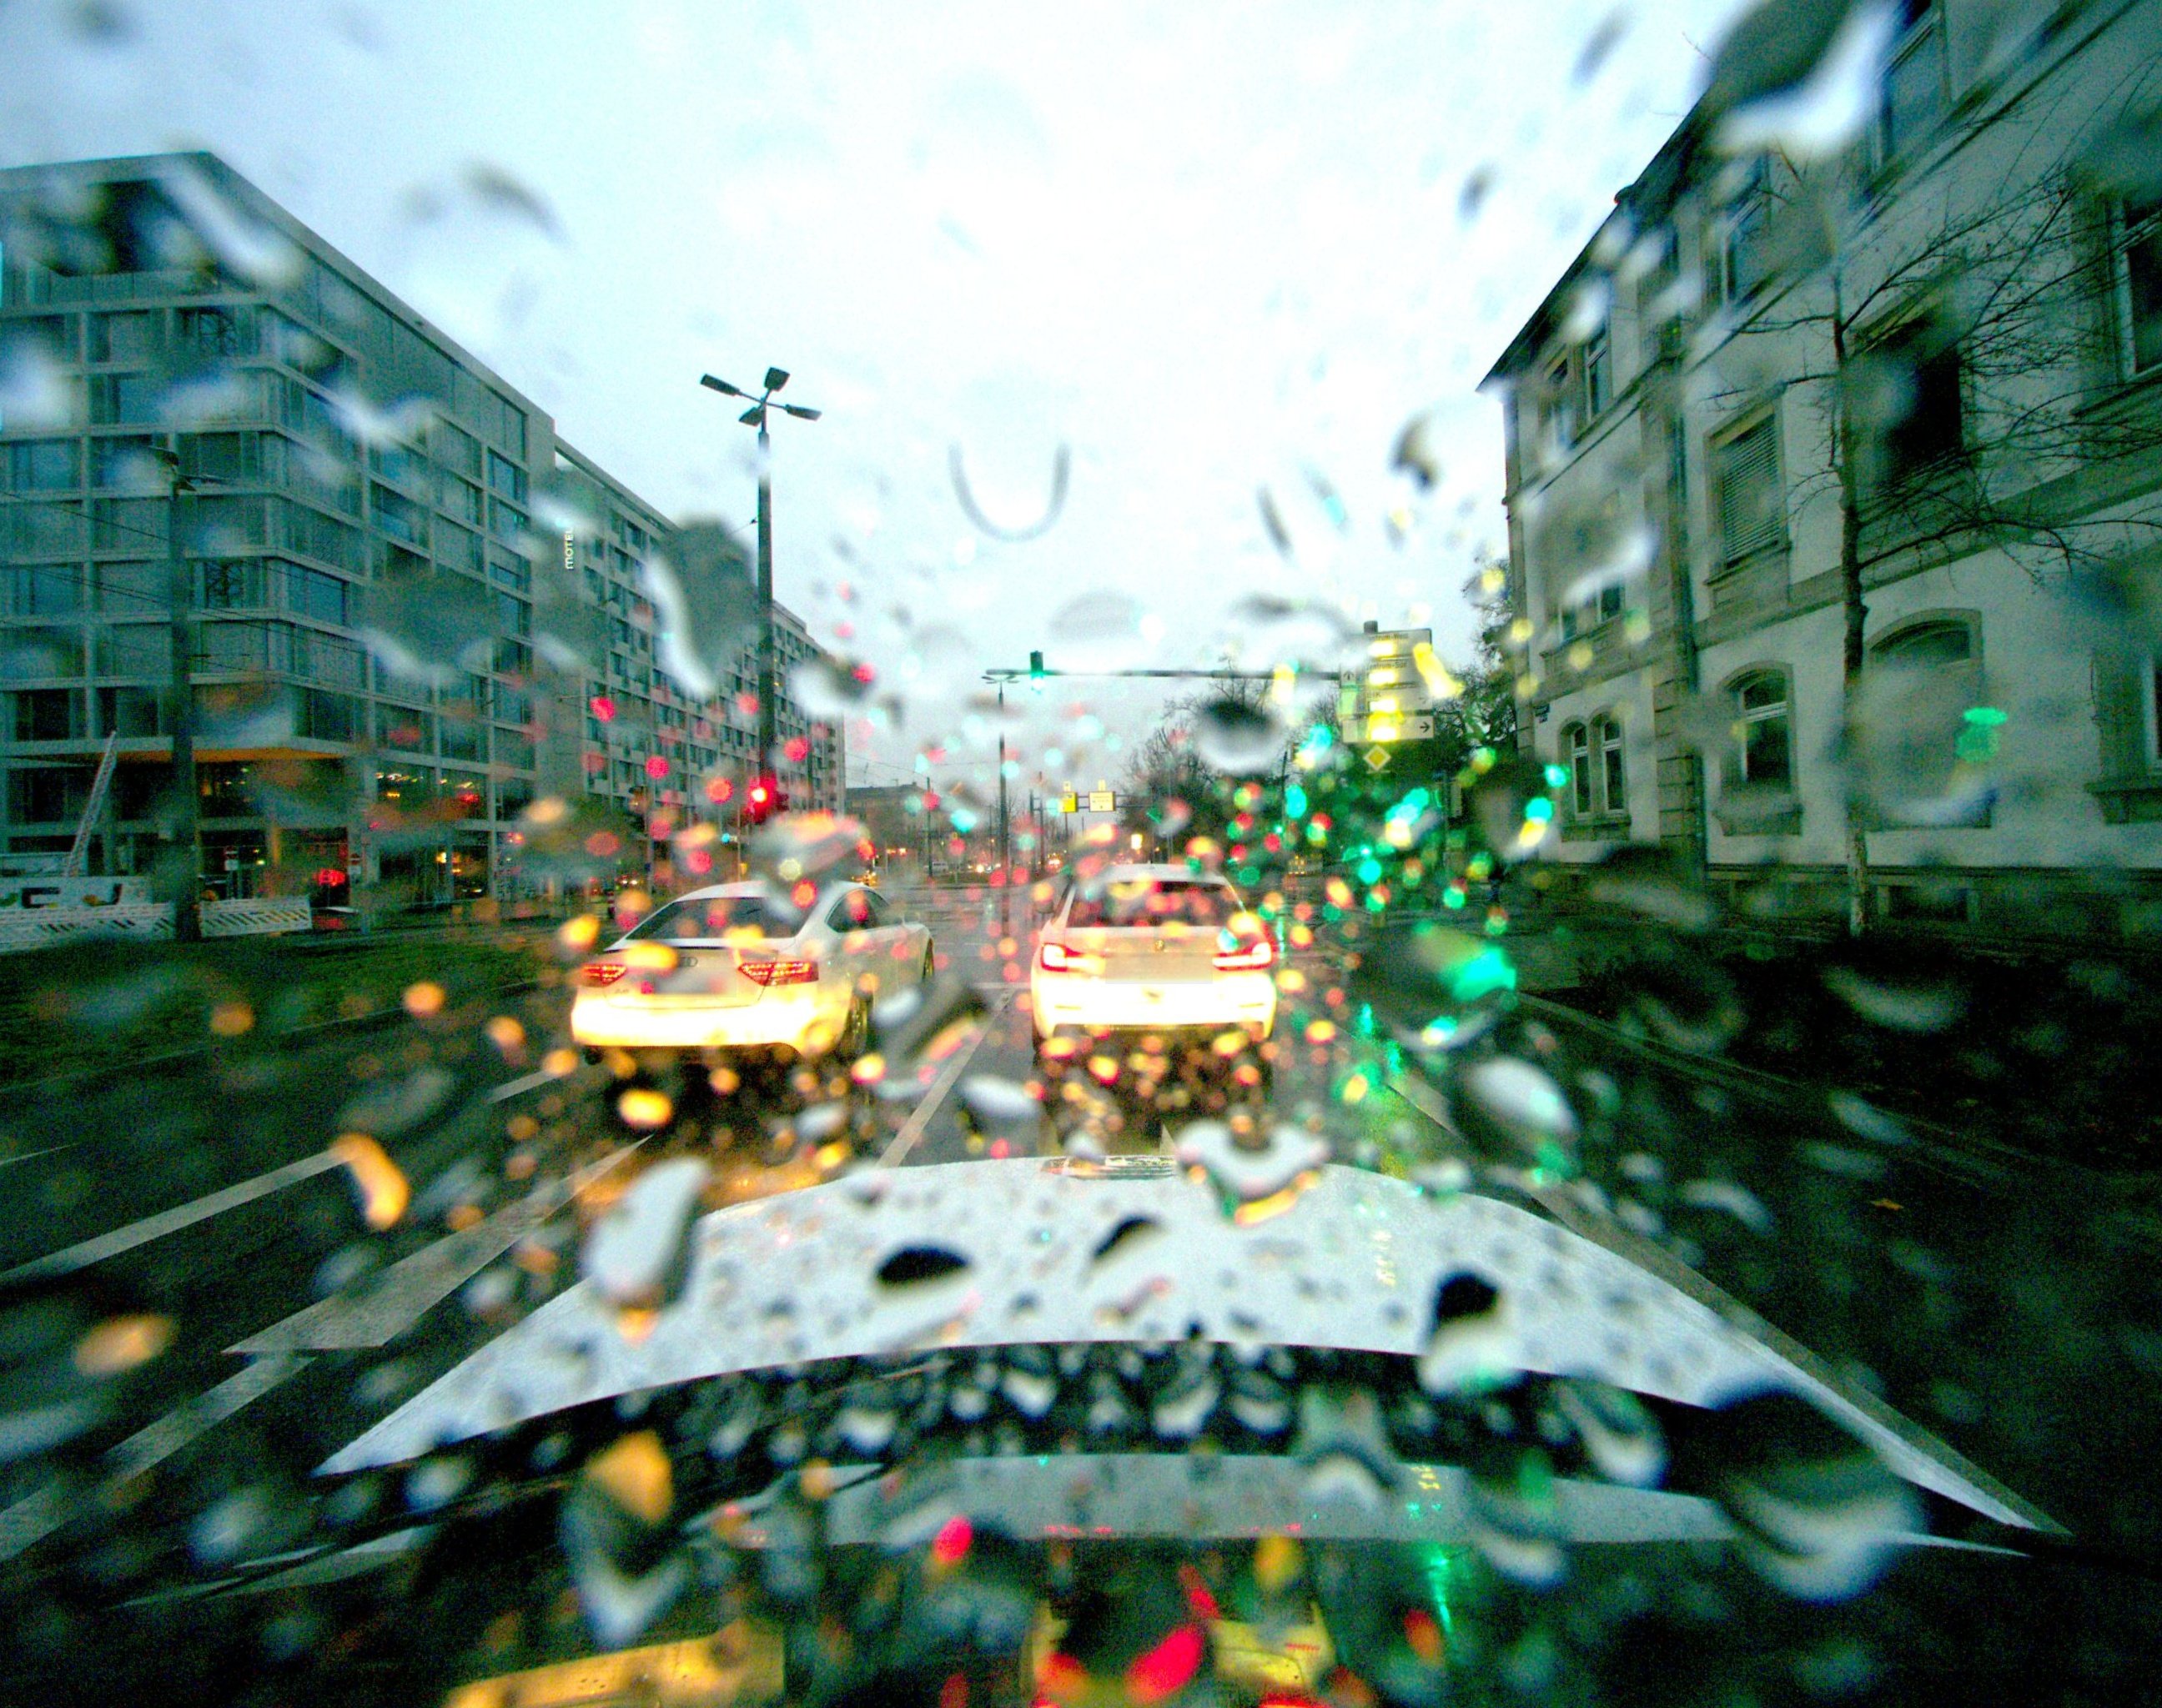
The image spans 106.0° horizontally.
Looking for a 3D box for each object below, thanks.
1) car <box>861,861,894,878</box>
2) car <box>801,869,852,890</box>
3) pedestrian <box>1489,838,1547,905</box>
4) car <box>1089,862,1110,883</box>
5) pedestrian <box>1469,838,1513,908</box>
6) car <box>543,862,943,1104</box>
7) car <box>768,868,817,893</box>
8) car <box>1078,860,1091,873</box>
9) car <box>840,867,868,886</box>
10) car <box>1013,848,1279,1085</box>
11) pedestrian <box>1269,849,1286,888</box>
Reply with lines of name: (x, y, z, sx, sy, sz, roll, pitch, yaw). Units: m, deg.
car: (-19.013, 1.431, 76.353, 1.988, 1.462, 5.090, 0, 0, -2)
car: (-18.664, 1.844, 59.928, 1.986, 1.462, 5.097, 0, 0, 2)
pedestrian: (10.853, 0.422, 20.250, 1.010, 1.632, 0.779, 0, -1, -17)
car: (1.853, 1.834, 80.901, 1.986, 2.014, 4.001, 0, -1, 2)
pedestrian: (9.536, 0.435, 18.924, 0.774, 1.579, 1.017, -1, -1, 33)
car: (-2.453, 0.819, 7.179, 1.754, 1.470, 4.250, 0, -1, 0)
car: (-21.786, 1.951, 61.699, 1.874, 1.789, 4.601, 0, -1, 2)
car: (0.544, 1.887, 126.368, 1.986, 2.014, 4.001, 0, -1, 2)
car: (-18.822, 1.843, 67.670, 1.995, 1.462, 5.073, 0, -1, -12)
car: (0.425, 0.759, 7.520, 1.754, 1.552, 4.250, 0, -1, 0)
pedestrian: (9.632, 0.715, 39.953, 0.670, 1.879, 0.715, 0, -1, 2)
